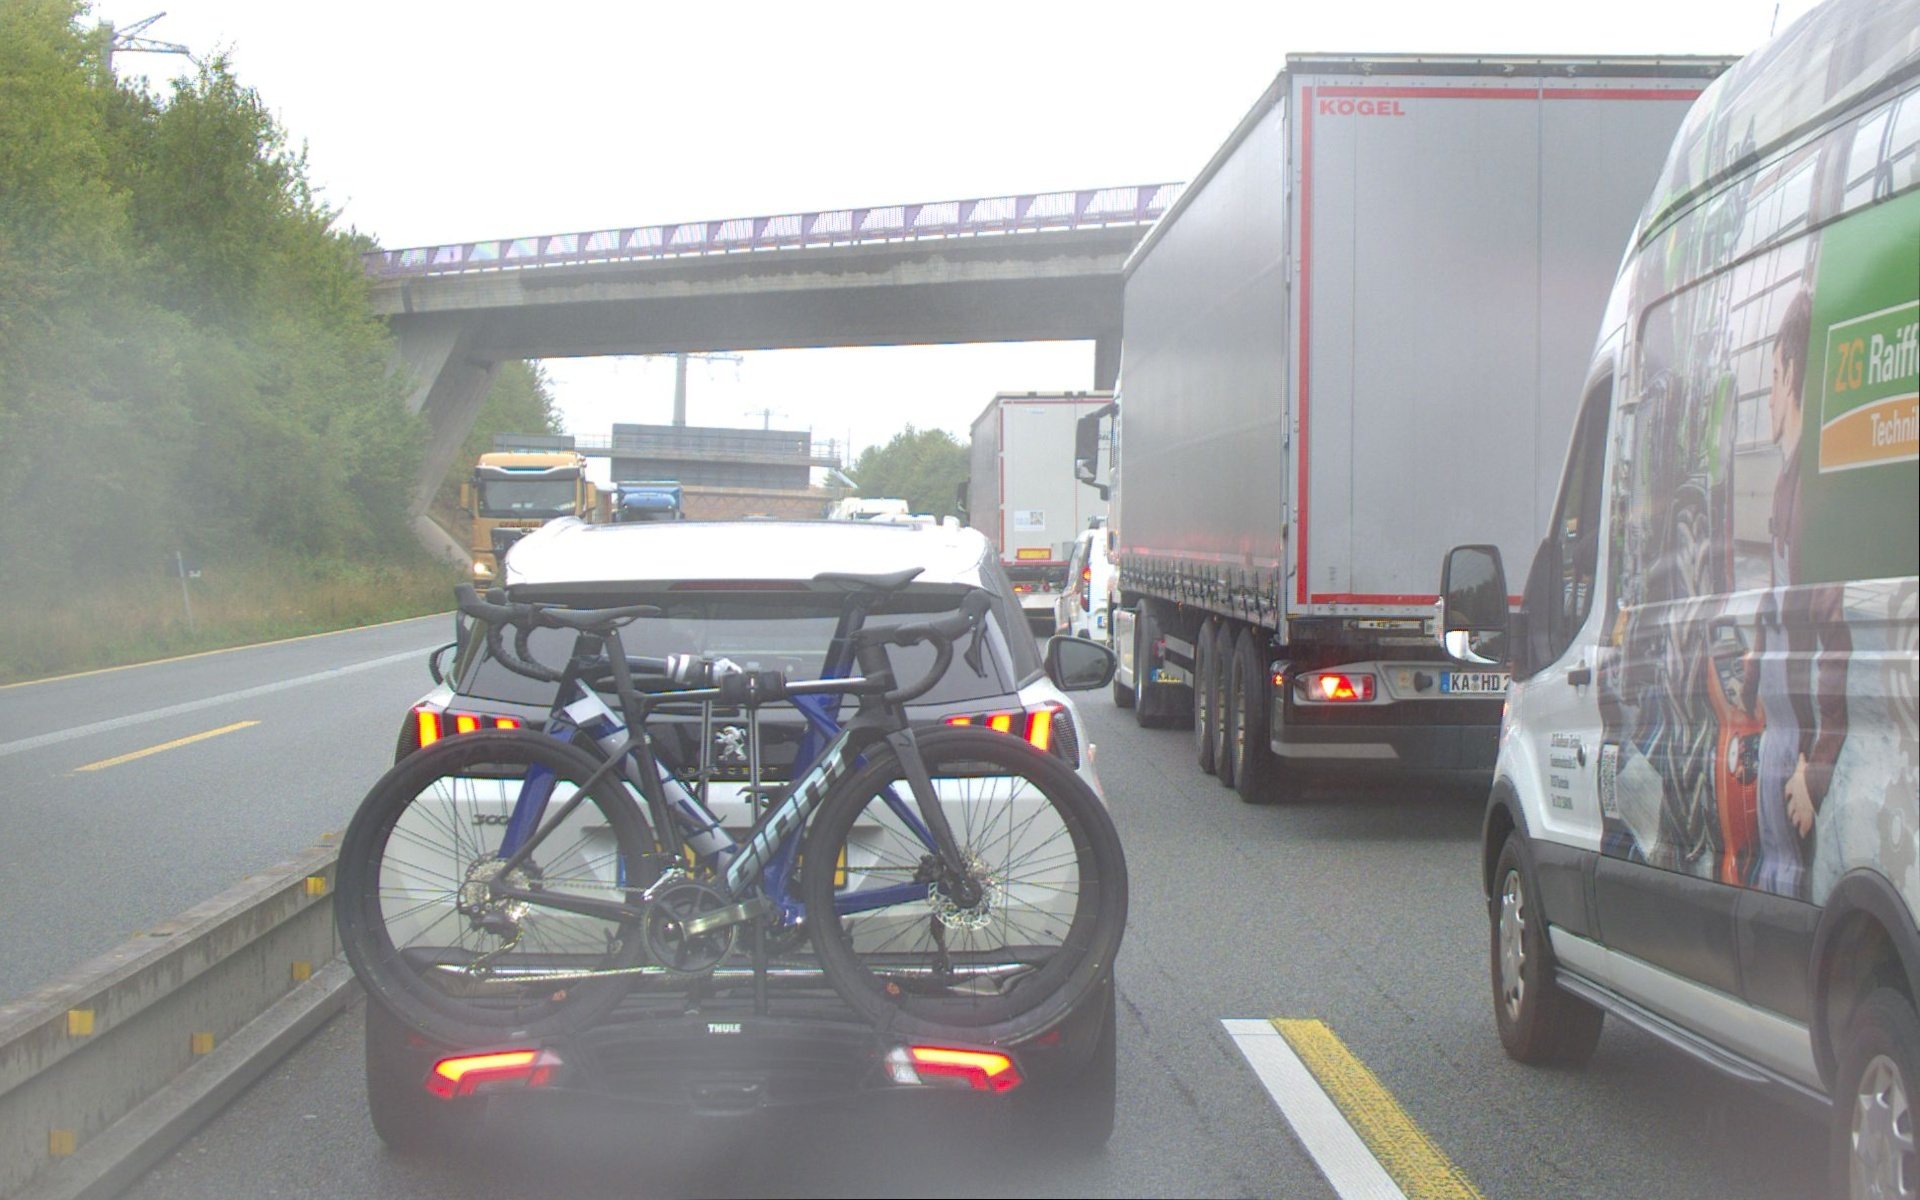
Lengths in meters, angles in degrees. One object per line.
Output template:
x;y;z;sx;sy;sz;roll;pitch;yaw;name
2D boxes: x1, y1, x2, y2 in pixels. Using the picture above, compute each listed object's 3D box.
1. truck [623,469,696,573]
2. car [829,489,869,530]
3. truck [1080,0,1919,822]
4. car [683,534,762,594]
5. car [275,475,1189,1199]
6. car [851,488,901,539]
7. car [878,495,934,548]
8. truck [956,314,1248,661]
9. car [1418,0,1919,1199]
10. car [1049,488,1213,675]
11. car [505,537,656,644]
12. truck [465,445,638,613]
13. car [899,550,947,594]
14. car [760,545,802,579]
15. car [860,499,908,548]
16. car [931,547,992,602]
-12.798;-3.224;145.440;2.765;4.109;16.931;1;1;-6;truck
-5.978;-4.894;185.670;1.993;2.119;4.527;1;1;0;car
3.375;-1.869;26.744;3.979;5.654;20.377;1;1;0;truck
-6.544;-0.992;94.994;1.935;1.602;4.120;1;1;-1;car
-0.433;0.553;9.167;1.810;1.632;4.635;1;1;1;car
-3.909;-4.048;160.938;2.239;2.299;4.572;1;1;0;car
-2.118;-3.052;133.880;1.993;2.007;4.001;1;1;-3;car
2.429;-1.944;66.663;4.743;5.654;20.376;1;1;1;truck
2.609;0.009;8.012;2.144;2.667;6.117;1;1;-1;car
2.057;-0.239;42.427;1.670;2.173;4.535;1;1;-1;car
-5.367;-0.147;49.020;1.779;1.438;4.329;1;1;-2;car
-9.520;-1.621;81.390;2.681;3.644;12.312;1;1;0;truck
-1.289;-0.985;120.535;1.638;1.492;3.666;1;1;0;car
-7.549;-1.617;145.332;1.686;1.404;3.930;1;1;-2;car
-3.253;-3.282;148.062;1.993;2.007;4.000;1;1;0;car
0.031;-0.730;96.052;1.638;1.492;3.666;1;1;0;car
